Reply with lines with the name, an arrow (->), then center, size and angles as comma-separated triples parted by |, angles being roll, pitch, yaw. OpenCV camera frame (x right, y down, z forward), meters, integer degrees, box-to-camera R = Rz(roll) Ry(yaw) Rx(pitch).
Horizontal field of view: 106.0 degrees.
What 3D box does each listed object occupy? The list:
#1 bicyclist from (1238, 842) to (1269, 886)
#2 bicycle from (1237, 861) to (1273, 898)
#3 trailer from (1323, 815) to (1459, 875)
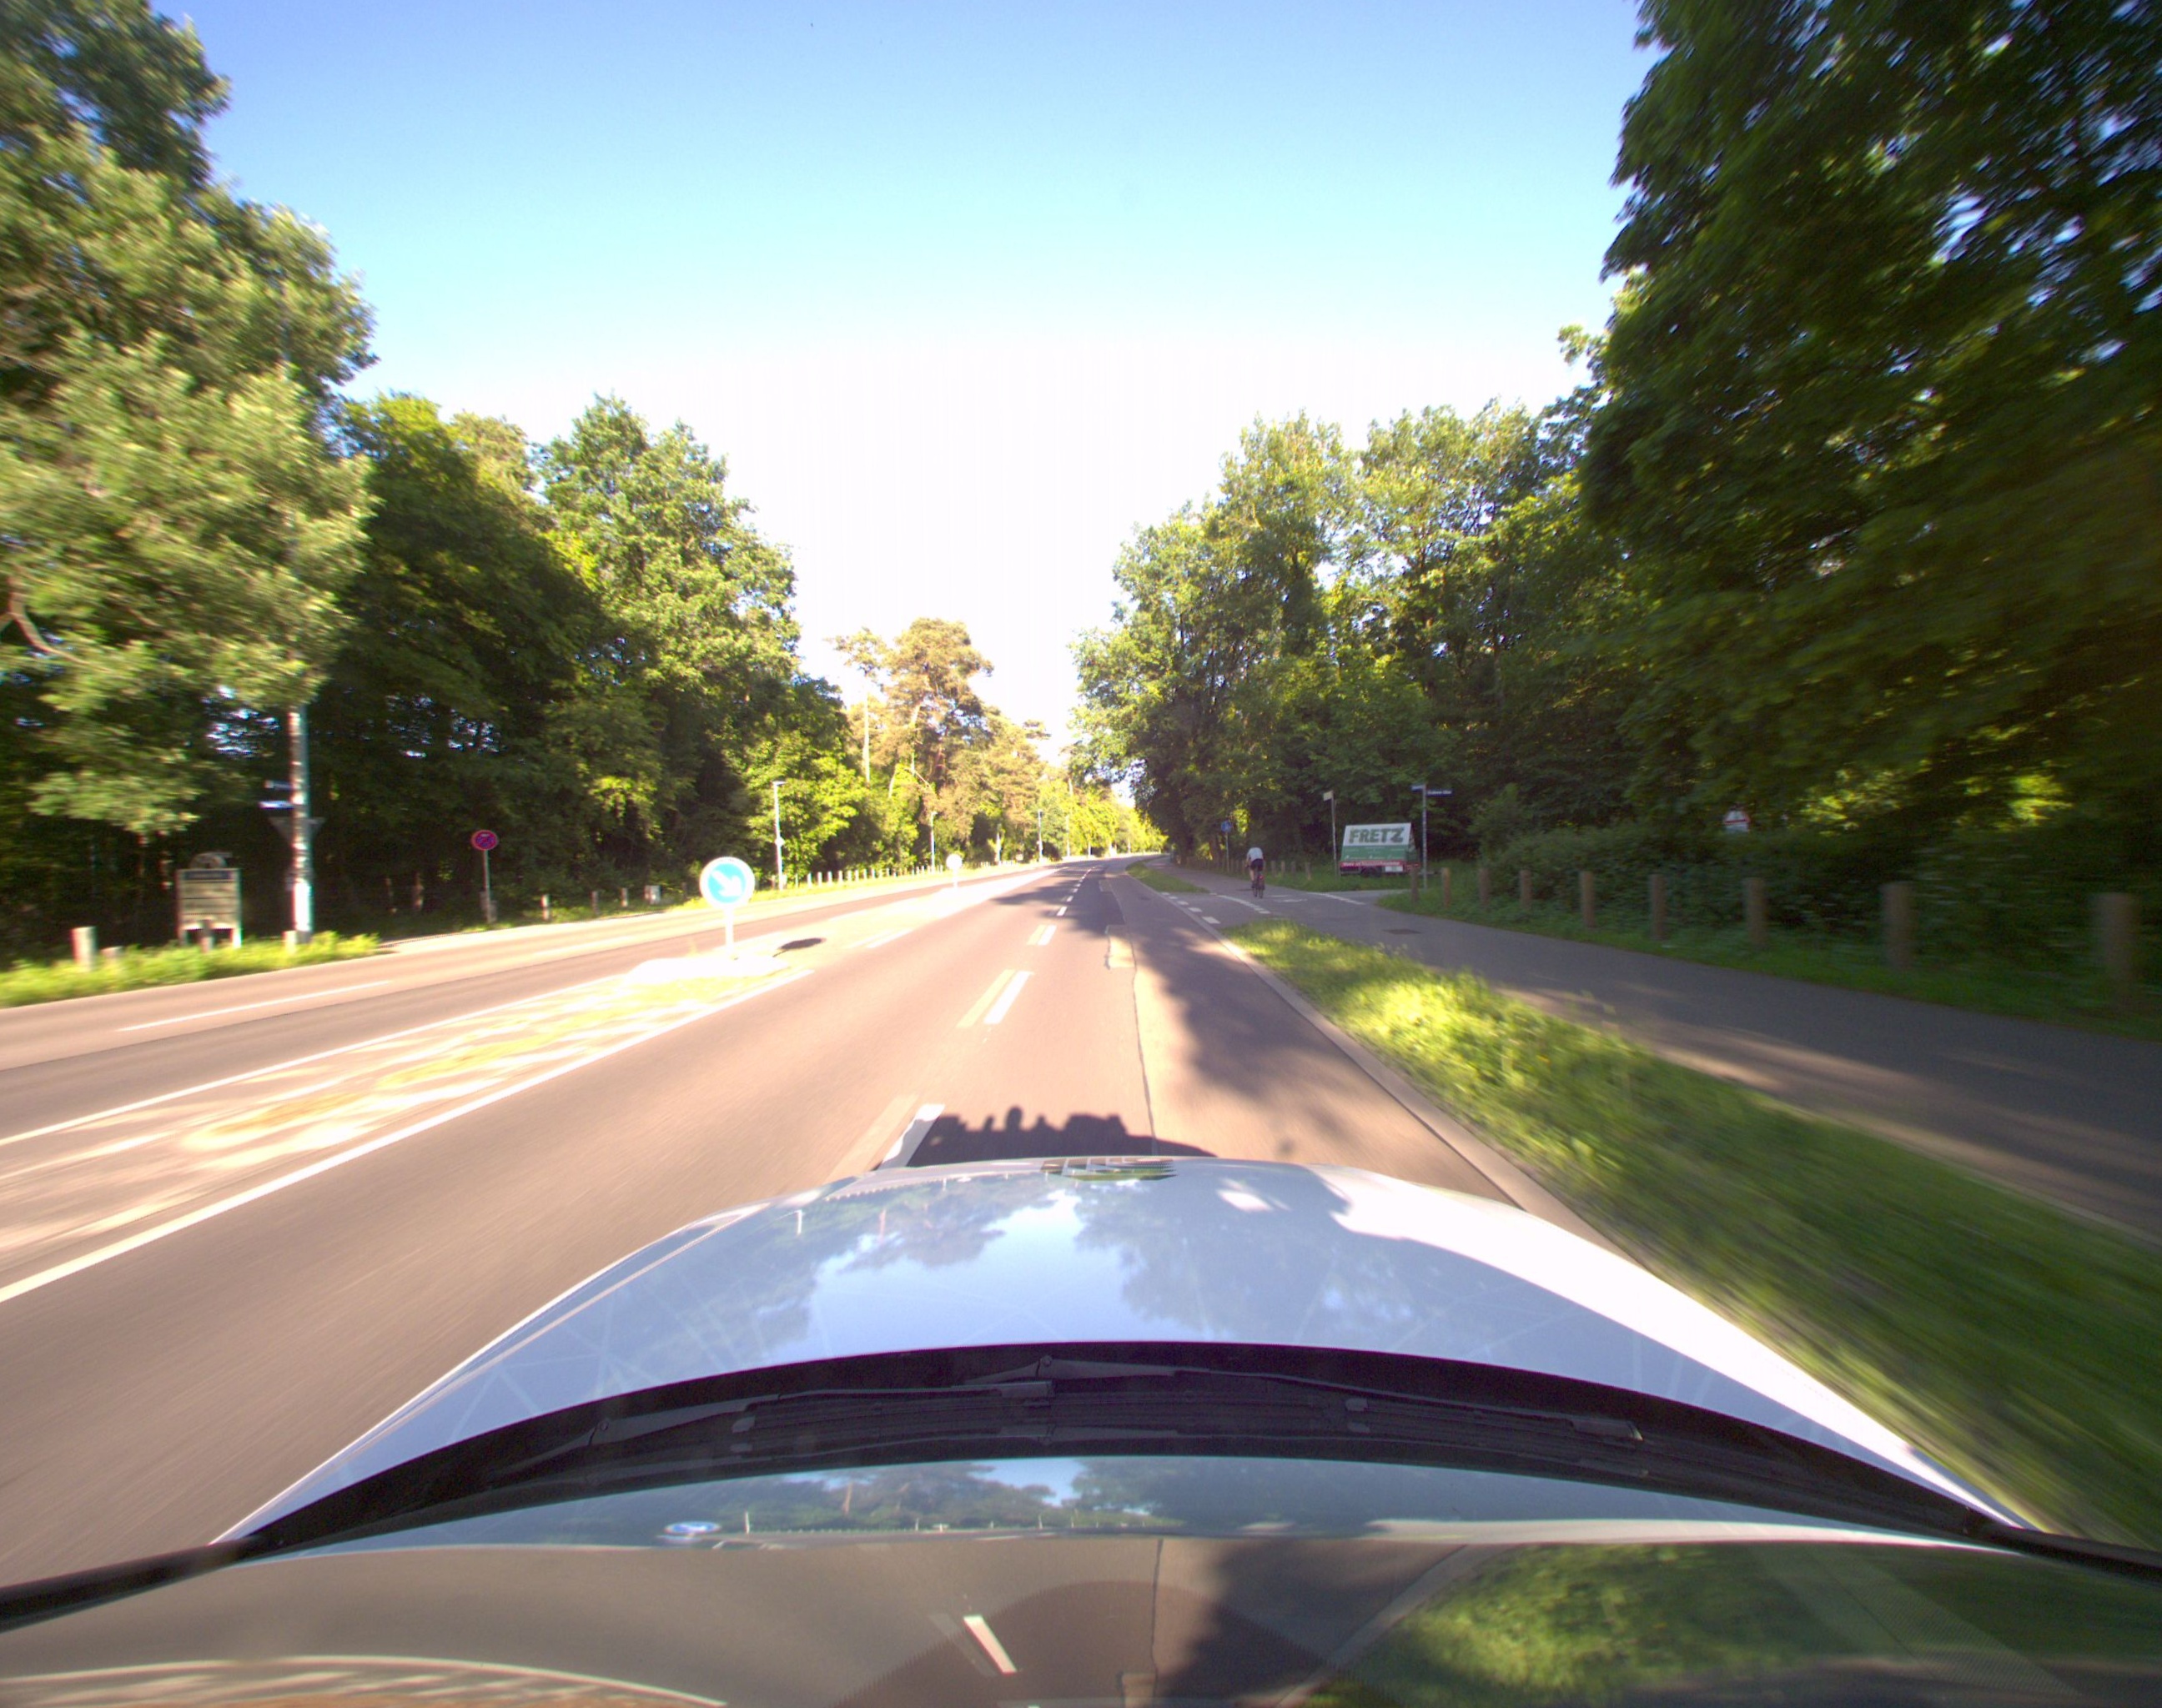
bicyclist -> 5.299, 0.301, 25.044 | 0.709, 1.288, 1.105 | -2, 0, 2
bicycle -> 5.306, 0.766, 24.956 | 0.709, 1.056, 2.054 | -2, 0, 2
trailer -> 11.242, -0.343, 29.685 | 4.174, 2.021, 2.012 | 1, 2, 42
